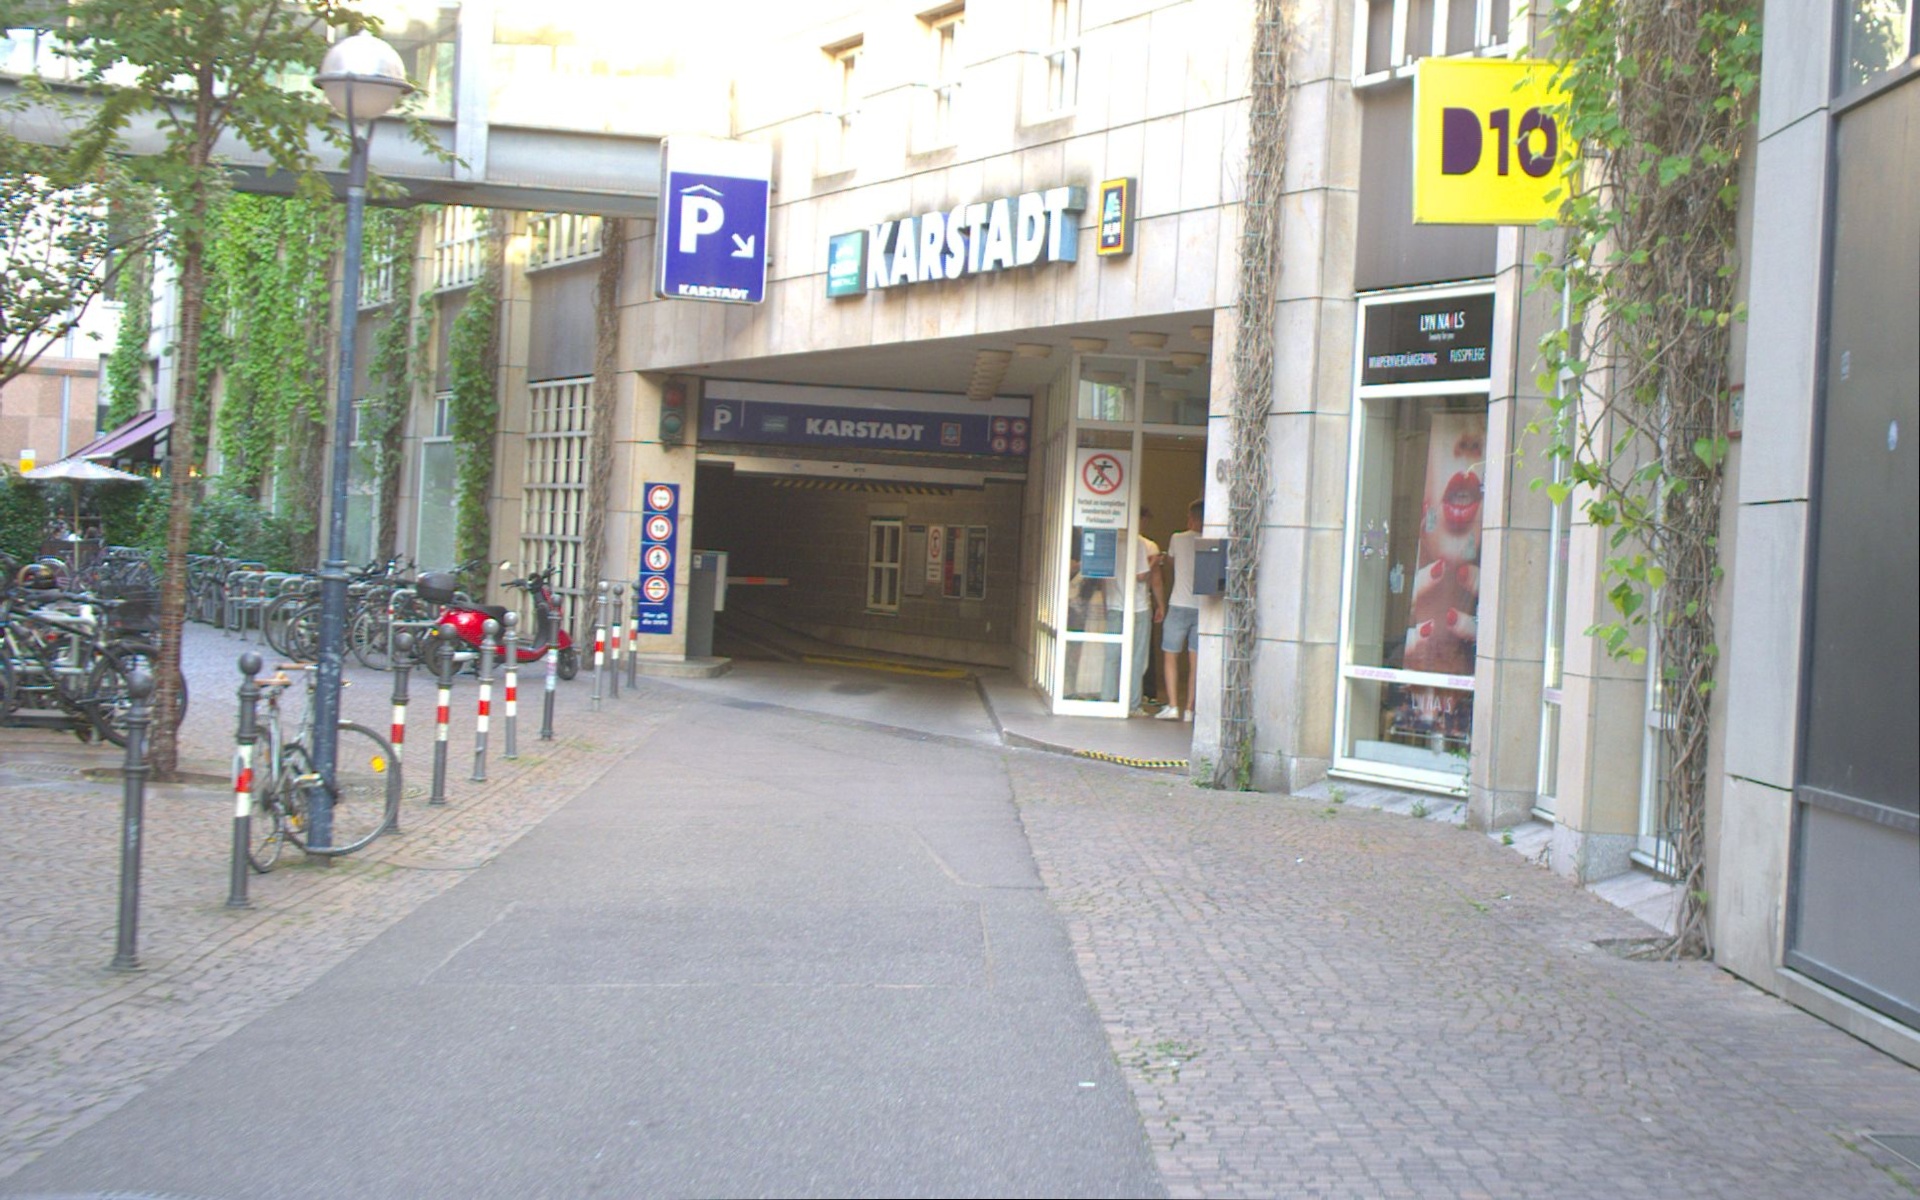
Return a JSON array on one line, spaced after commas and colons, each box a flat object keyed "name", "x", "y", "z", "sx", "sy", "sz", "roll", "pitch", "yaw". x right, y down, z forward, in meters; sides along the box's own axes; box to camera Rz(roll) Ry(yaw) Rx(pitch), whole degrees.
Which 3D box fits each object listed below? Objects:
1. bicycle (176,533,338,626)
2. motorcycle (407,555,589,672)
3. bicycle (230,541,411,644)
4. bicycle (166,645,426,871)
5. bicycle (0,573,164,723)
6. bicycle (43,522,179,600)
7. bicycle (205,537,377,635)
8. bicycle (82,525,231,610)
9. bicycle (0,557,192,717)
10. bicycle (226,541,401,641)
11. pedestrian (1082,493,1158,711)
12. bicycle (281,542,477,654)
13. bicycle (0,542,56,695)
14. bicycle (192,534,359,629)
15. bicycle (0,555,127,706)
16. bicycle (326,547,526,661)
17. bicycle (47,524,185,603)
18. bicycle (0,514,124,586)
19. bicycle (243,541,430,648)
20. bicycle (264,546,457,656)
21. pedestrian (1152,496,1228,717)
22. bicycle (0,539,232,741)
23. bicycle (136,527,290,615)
[{"name": "bicycle", "x": -9.209, "y": -0.266, "z": 45.036, "sx": 1.993, "sy": 1.178, "sz": 0.694, "roll": 1, "pitch": 1, "yaw": -20}, {"name": "motorcycle", "x": -4.689, "y": 0.135, "z": 34.884, "sx": 1.745, "sy": 1.151, "sz": 0.595, "roll": 1, "pitch": 1, "yaw": -17}, {"name": "bicycle", "x": -7.604, "y": -0.085, "z": 40.867, "sx": 1.993, "sy": 1.178, "sz": 0.803, "roll": 1, "pitch": 2, "yaw": -20}, {"name": "bicycle", "x": -3.130, "y": 0.722, "z": 16.355, "sx": 0.505, "sy": 0.963, "sz": 1.694, "roll": 3, "pitch": 1, "yaw": 14}, {"name": "bicycle", "x": -6.618, "y": 0.318, "z": 24.089, "sx": 1.912, "sy": 0.991, "sz": 0.696, "roll": 2, "pitch": 1, "yaw": -20}, {"name": "bicycle", "x": -13.300, "y": -0.610, "z": 53.840, "sx": 1.993, "sy": 1.178, "sz": 0.694, "roll": 1, "pitch": 1, "yaw": -20}, {"name": "bicycle", "x": -8.313, "y": -0.172, "z": 42.732, "sx": 1.993, "sy": 1.178, "sz": 0.694, "roll": 1, "pitch": 1, "yaw": -20}, {"name": "bicycle", "x": -11.495, "y": -0.467, "z": 49.194, "sx": 1.993, "sy": 1.178, "sz": 0.694, "roll": 1, "pitch": 1, "yaw": -20}, {"name": "bicycle", "x": -6.625, "y": 0.256, "z": 25.007, "sx": 1.912, "sy": 1.098, "sz": 0.696, "roll": 2, "pitch": 1, "yaw": -20}, {"name": "bicycle", "x": -7.876, "y": -0.106, "z": 41.853, "sx": 1.993, "sy": 1.178, "sz": 0.694, "roll": 1, "pitch": 1, "yaw": -20}, {"name": "pedestrian", "x": 1.381, "y": 0.013, "z": 29.636, "sx": 0.542, "sy": 1.840, "sz": 0.408, "roll": 3, "pitch": 2, "yaw": 6}, {"name": "bicycle", "x": -6.318, "y": -0.018, "z": 37.371, "sx": 1.993, "sy": 1.178, "sz": 0.696, "roll": 1, "pitch": 1, "yaw": -20}, {"name": "bicycle", "x": -8.151, "y": 0.109, "z": 27.082, "sx": 1.912, "sy": 1.178, "sz": 0.696, "roll": 2, "pitch": 1, "yaw": -17}, {"name": "bicycle", "x": -8.750, "y": -0.234, "z": 43.965, "sx": 1.993, "sy": 1.178, "sz": 0.694, "roll": 1, "pitch": 1, "yaw": -20}, {"name": "bicycle", "x": -7.374, "y": 0.212, "z": 26.188, "sx": 1.912, "sy": 1.098, "sz": 0.696, "roll": 2, "pitch": 1, "yaw": -17}, {"name": "bicycle", "x": -5.677, "y": 0.042, "z": 36.552, "sx": 1.993, "sy": 1.178, "sz": 0.696, "roll": 1, "pitch": 1, "yaw": -20}, {"name": "bicycle", "x": -13.015, "y": -0.570, "z": 53.032, "sx": 1.993, "sy": 1.178, "sz": 0.694, "roll": 1, "pitch": 1, "yaw": -20}, {"name": "bicycle", "x": -15.242, "y": -0.853, "z": 58.313, "sx": 1.993, "sy": 1.178, "sz": 0.694, "roll": 1, "pitch": 1, "yaw": -20}, {"name": "bicycle", "x": -7.147, "y": -0.063, "z": 39.416, "sx": 1.993, "sy": 1.178, "sz": 0.803, "roll": 1, "pitch": 2, "yaw": -20}, {"name": "bicycle", "x": -6.681, "y": 0.009, "z": 38.286, "sx": 1.993, "sy": 1.178, "sz": 0.803, "roll": 1, "pitch": 2, "yaw": -20}, {"name": "pedestrian", "x": 1.971, "y": 0.051, "z": 29.404, "sx": 0.542, "sy": 1.855, "sz": 0.408, "roll": 3, "pitch": 2, "yaw": 6}, {"name": "bicycle", "x": -5.854, "y": 0.253, "z": 22.679, "sx": 1.912, "sy": 1.256, "sz": 0.809, "roll": 2, "pitch": 1, "yaw": -20}, {"name": "bicycle", "x": -10.294, "y": -0.397, "z": 47.387, "sx": 1.993, "sy": 1.178, "sz": 0.694, "roll": 1, "pitch": 1, "yaw": -20}]
